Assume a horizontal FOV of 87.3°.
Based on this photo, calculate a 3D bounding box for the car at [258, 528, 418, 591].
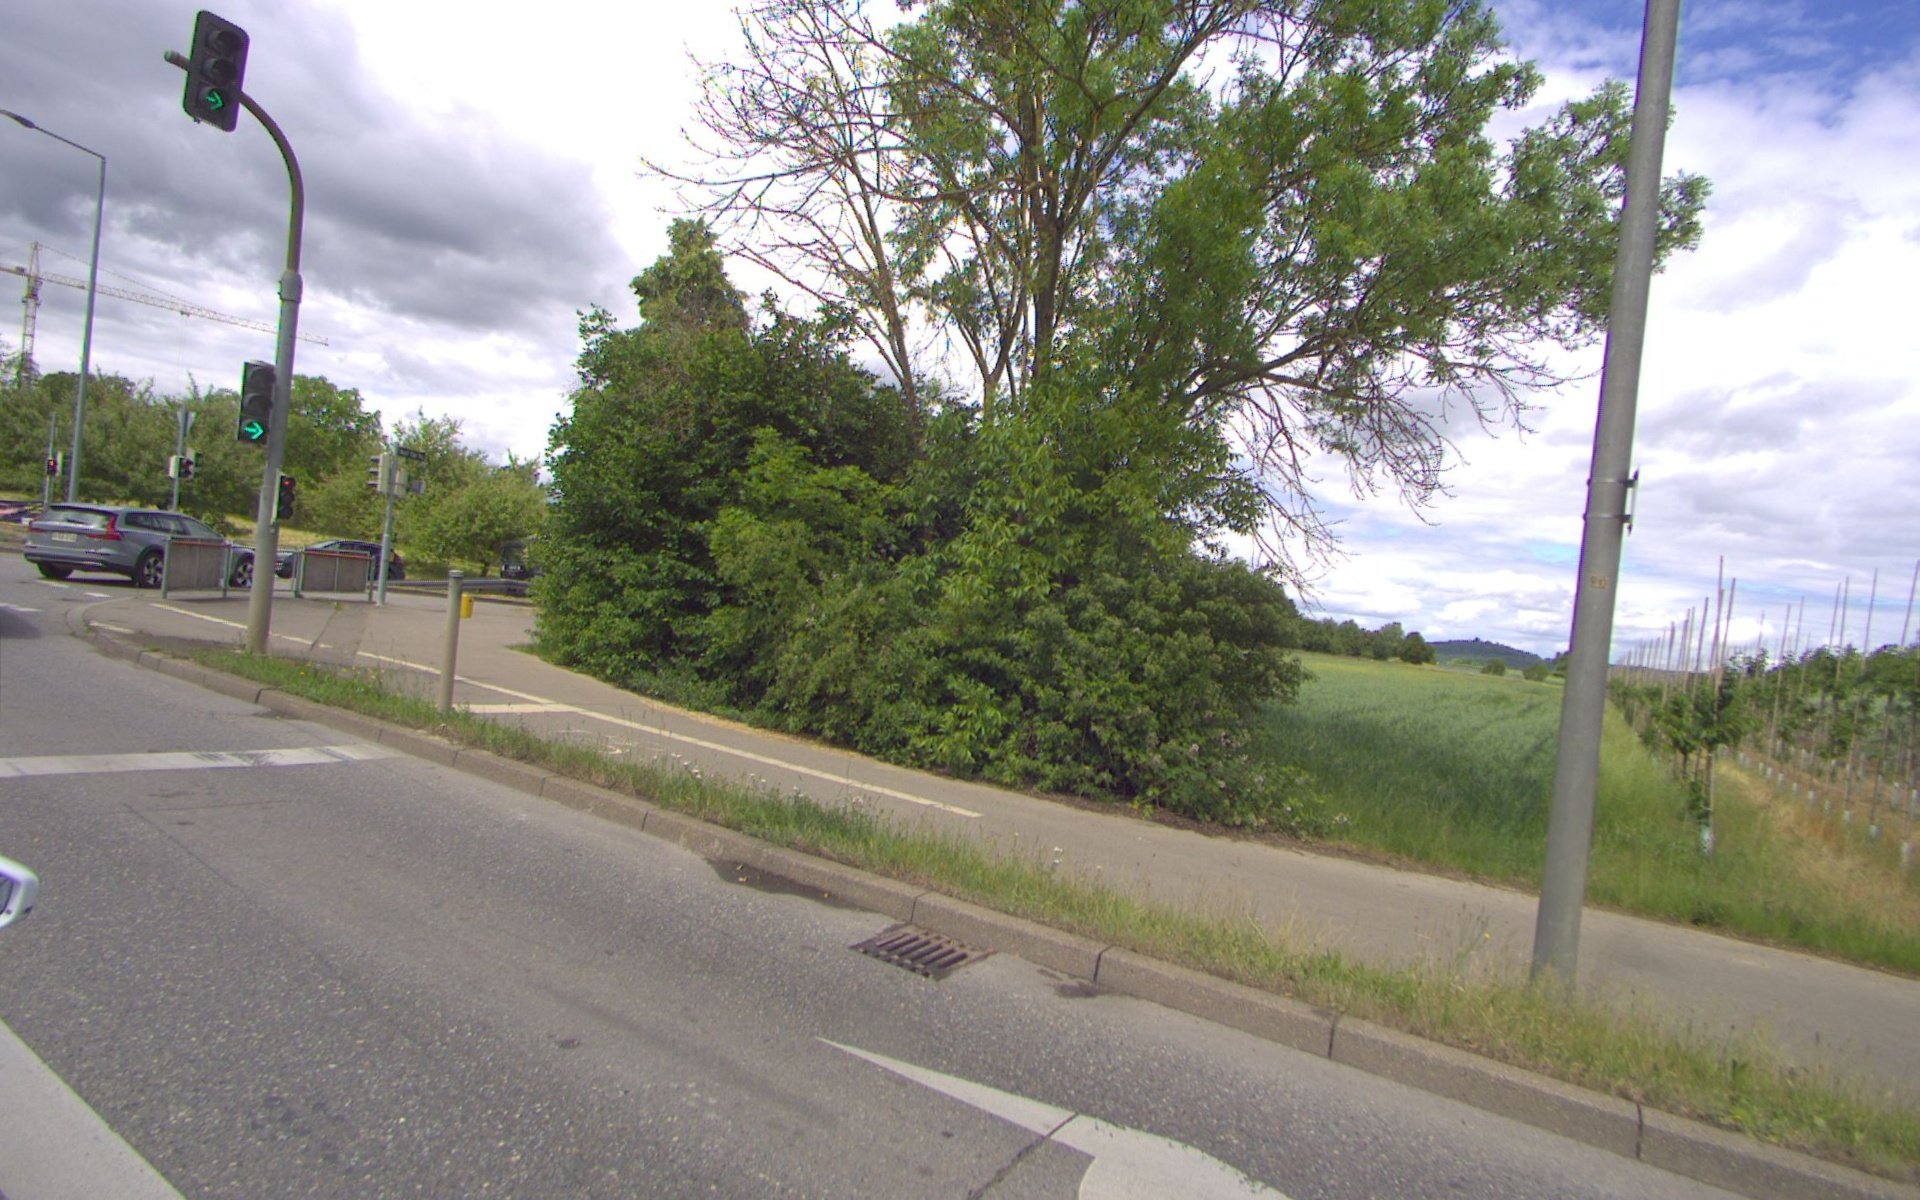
[{"bbox_3d":[-22.040,-1.413,35.789,1.969,1.635,4.305,7,0,36],"label":"car"}]

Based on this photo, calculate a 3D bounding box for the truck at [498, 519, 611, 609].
[{"bbox_3d":[-18.438,-1.594,45.896,1.970,3.511,3.987,7,0,37],"label":"truck"}]

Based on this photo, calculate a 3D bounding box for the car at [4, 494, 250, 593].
[{"bbox_3d":[-16.312,-1.058,20.047,1.839,1.537,4.434,7,0,-13],"label":"car"}]

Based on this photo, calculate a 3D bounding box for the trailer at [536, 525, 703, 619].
[{"bbox_3d":[-16.312,-1.245,48.778,1.969,3.500,7.586,7,-1,37],"label":"trailer"}]

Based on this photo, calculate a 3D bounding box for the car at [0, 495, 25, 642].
[{"bbox_3d":[-12.106,-0.608,11.092,5.123,1.459,1.871,7,1,39],"label":"car"}]
